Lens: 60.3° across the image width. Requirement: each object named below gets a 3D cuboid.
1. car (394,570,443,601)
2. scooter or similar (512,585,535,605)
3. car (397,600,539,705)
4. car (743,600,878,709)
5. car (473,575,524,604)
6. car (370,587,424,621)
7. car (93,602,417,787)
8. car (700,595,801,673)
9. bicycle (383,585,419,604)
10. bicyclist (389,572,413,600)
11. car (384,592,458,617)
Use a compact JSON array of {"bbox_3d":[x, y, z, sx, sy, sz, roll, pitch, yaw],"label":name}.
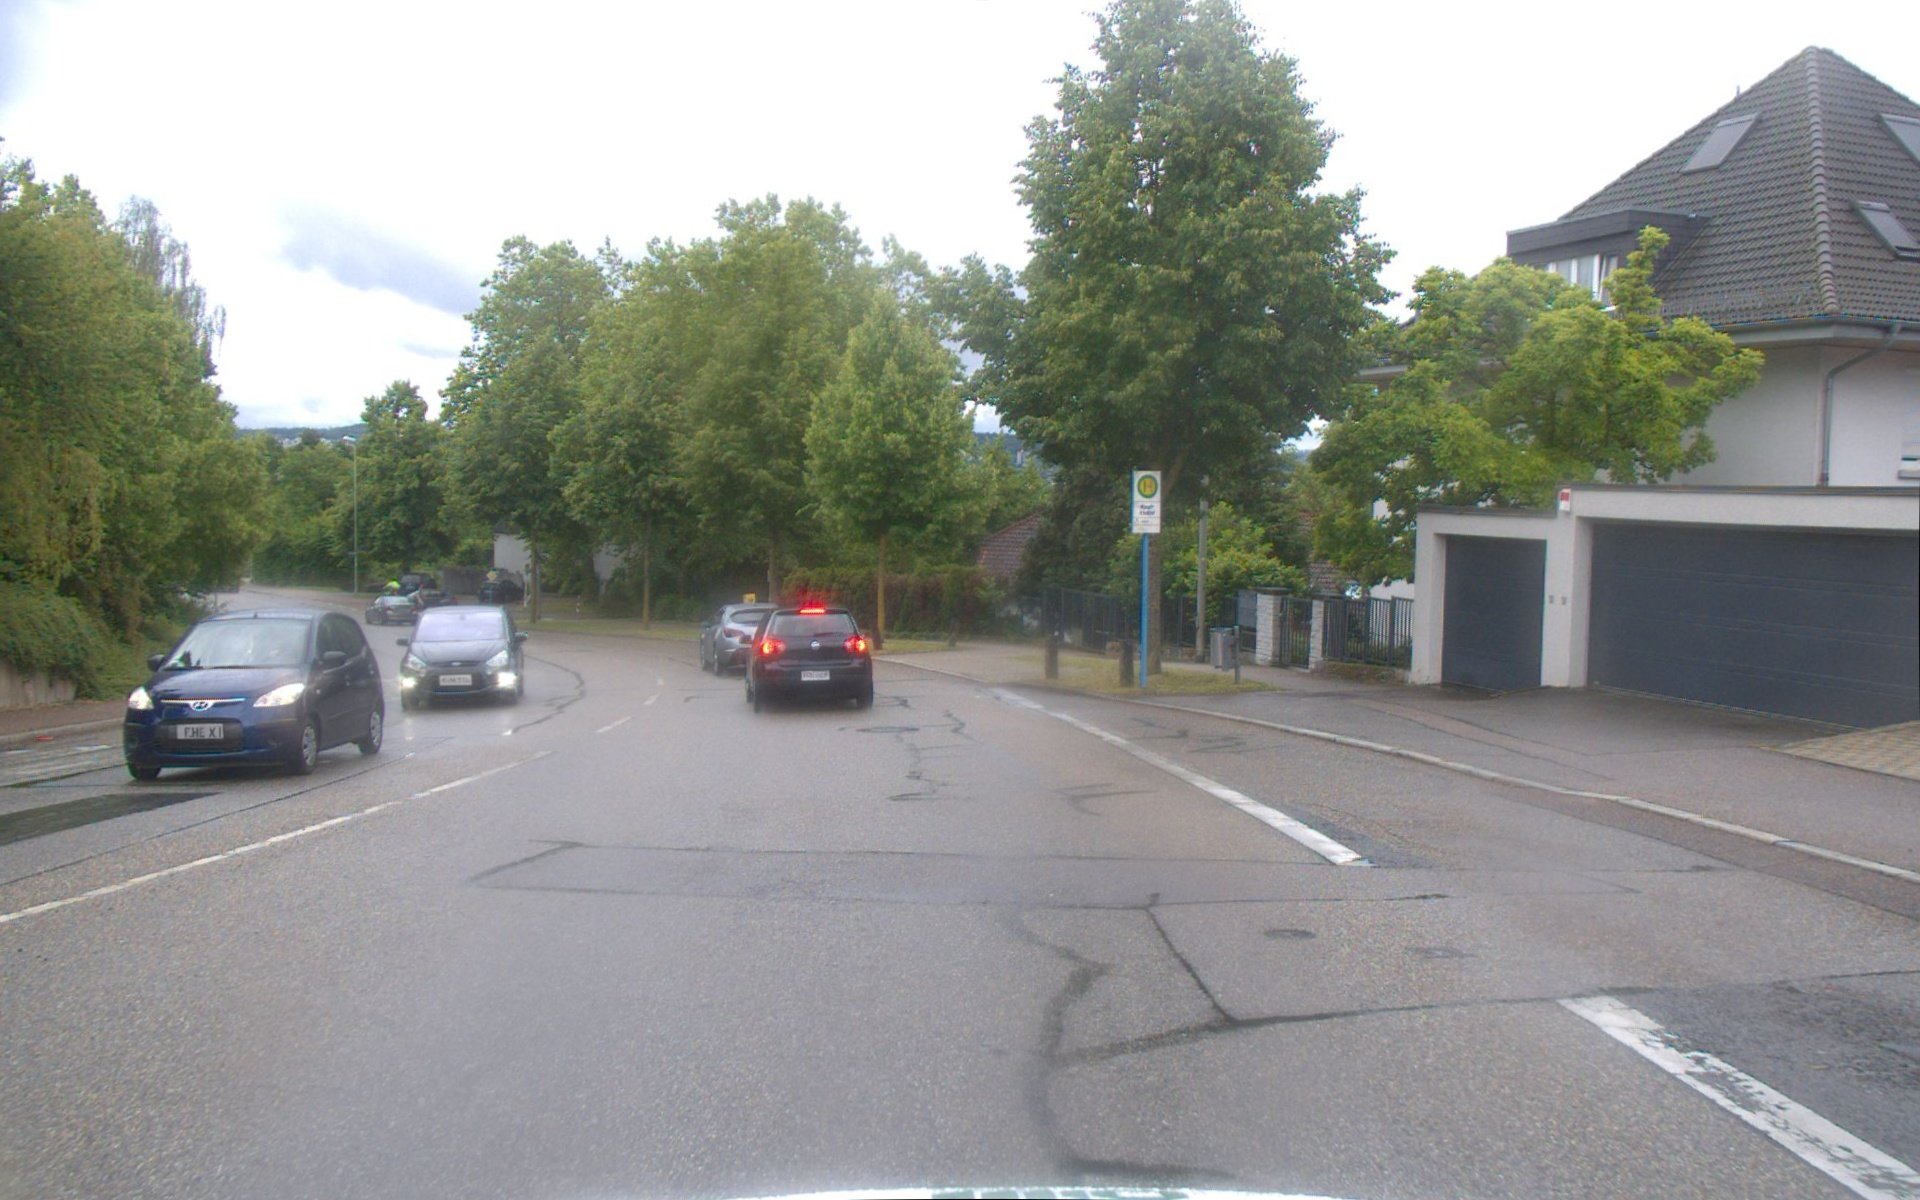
[{"bbox_3d":[-35.762,-0.974,109.368,1.909,1.718,4.901,2,4,-5],"label":"car"},{"bbox_3d":[-28.524,-0.338,108.188,1.327,1.308,0.554,-2,2,-39],"label":"scooter or similar"},{"bbox_3d":[-8.229,0.809,28.008,1.778,1.604,4.674,0,0,-10],"label":"car"},{"bbox_3d":[-2.315,0.747,24.800,1.690,1.489,3.990,0,0,-10],"label":"car"},{"bbox_3d":[-30.543,-0.714,109.589,1.714,1.494,4.570,3,4,4],"label":"car"},{"bbox_3d":[-27.649,0.174,81.120,1.704,1.489,3.959,3,0,-30],"label":"car"},{"bbox_3d":[-6.845,0.820,16.583,1.688,1.489,4.373,0,1,-5],"label":"car"},{"bbox_3d":[-4.596,0.686,35.844,1.725,1.489,3.986,-1,1,-14],"label":"car"},{"bbox_3d":[-34.851,-0.363,103.100,1.994,1.175,0.853,0,0,-9],"label":"bicycle"},{"bbox_3d":[-34.859,-0.876,103.091,1.258,1.786,0.853,0,0,-9],"label":"bicyclist"},{"bbox_3d":[-32.029,0.254,98.350,4.071,1.408,1.714,0,0,-24],"label":"car"}]
